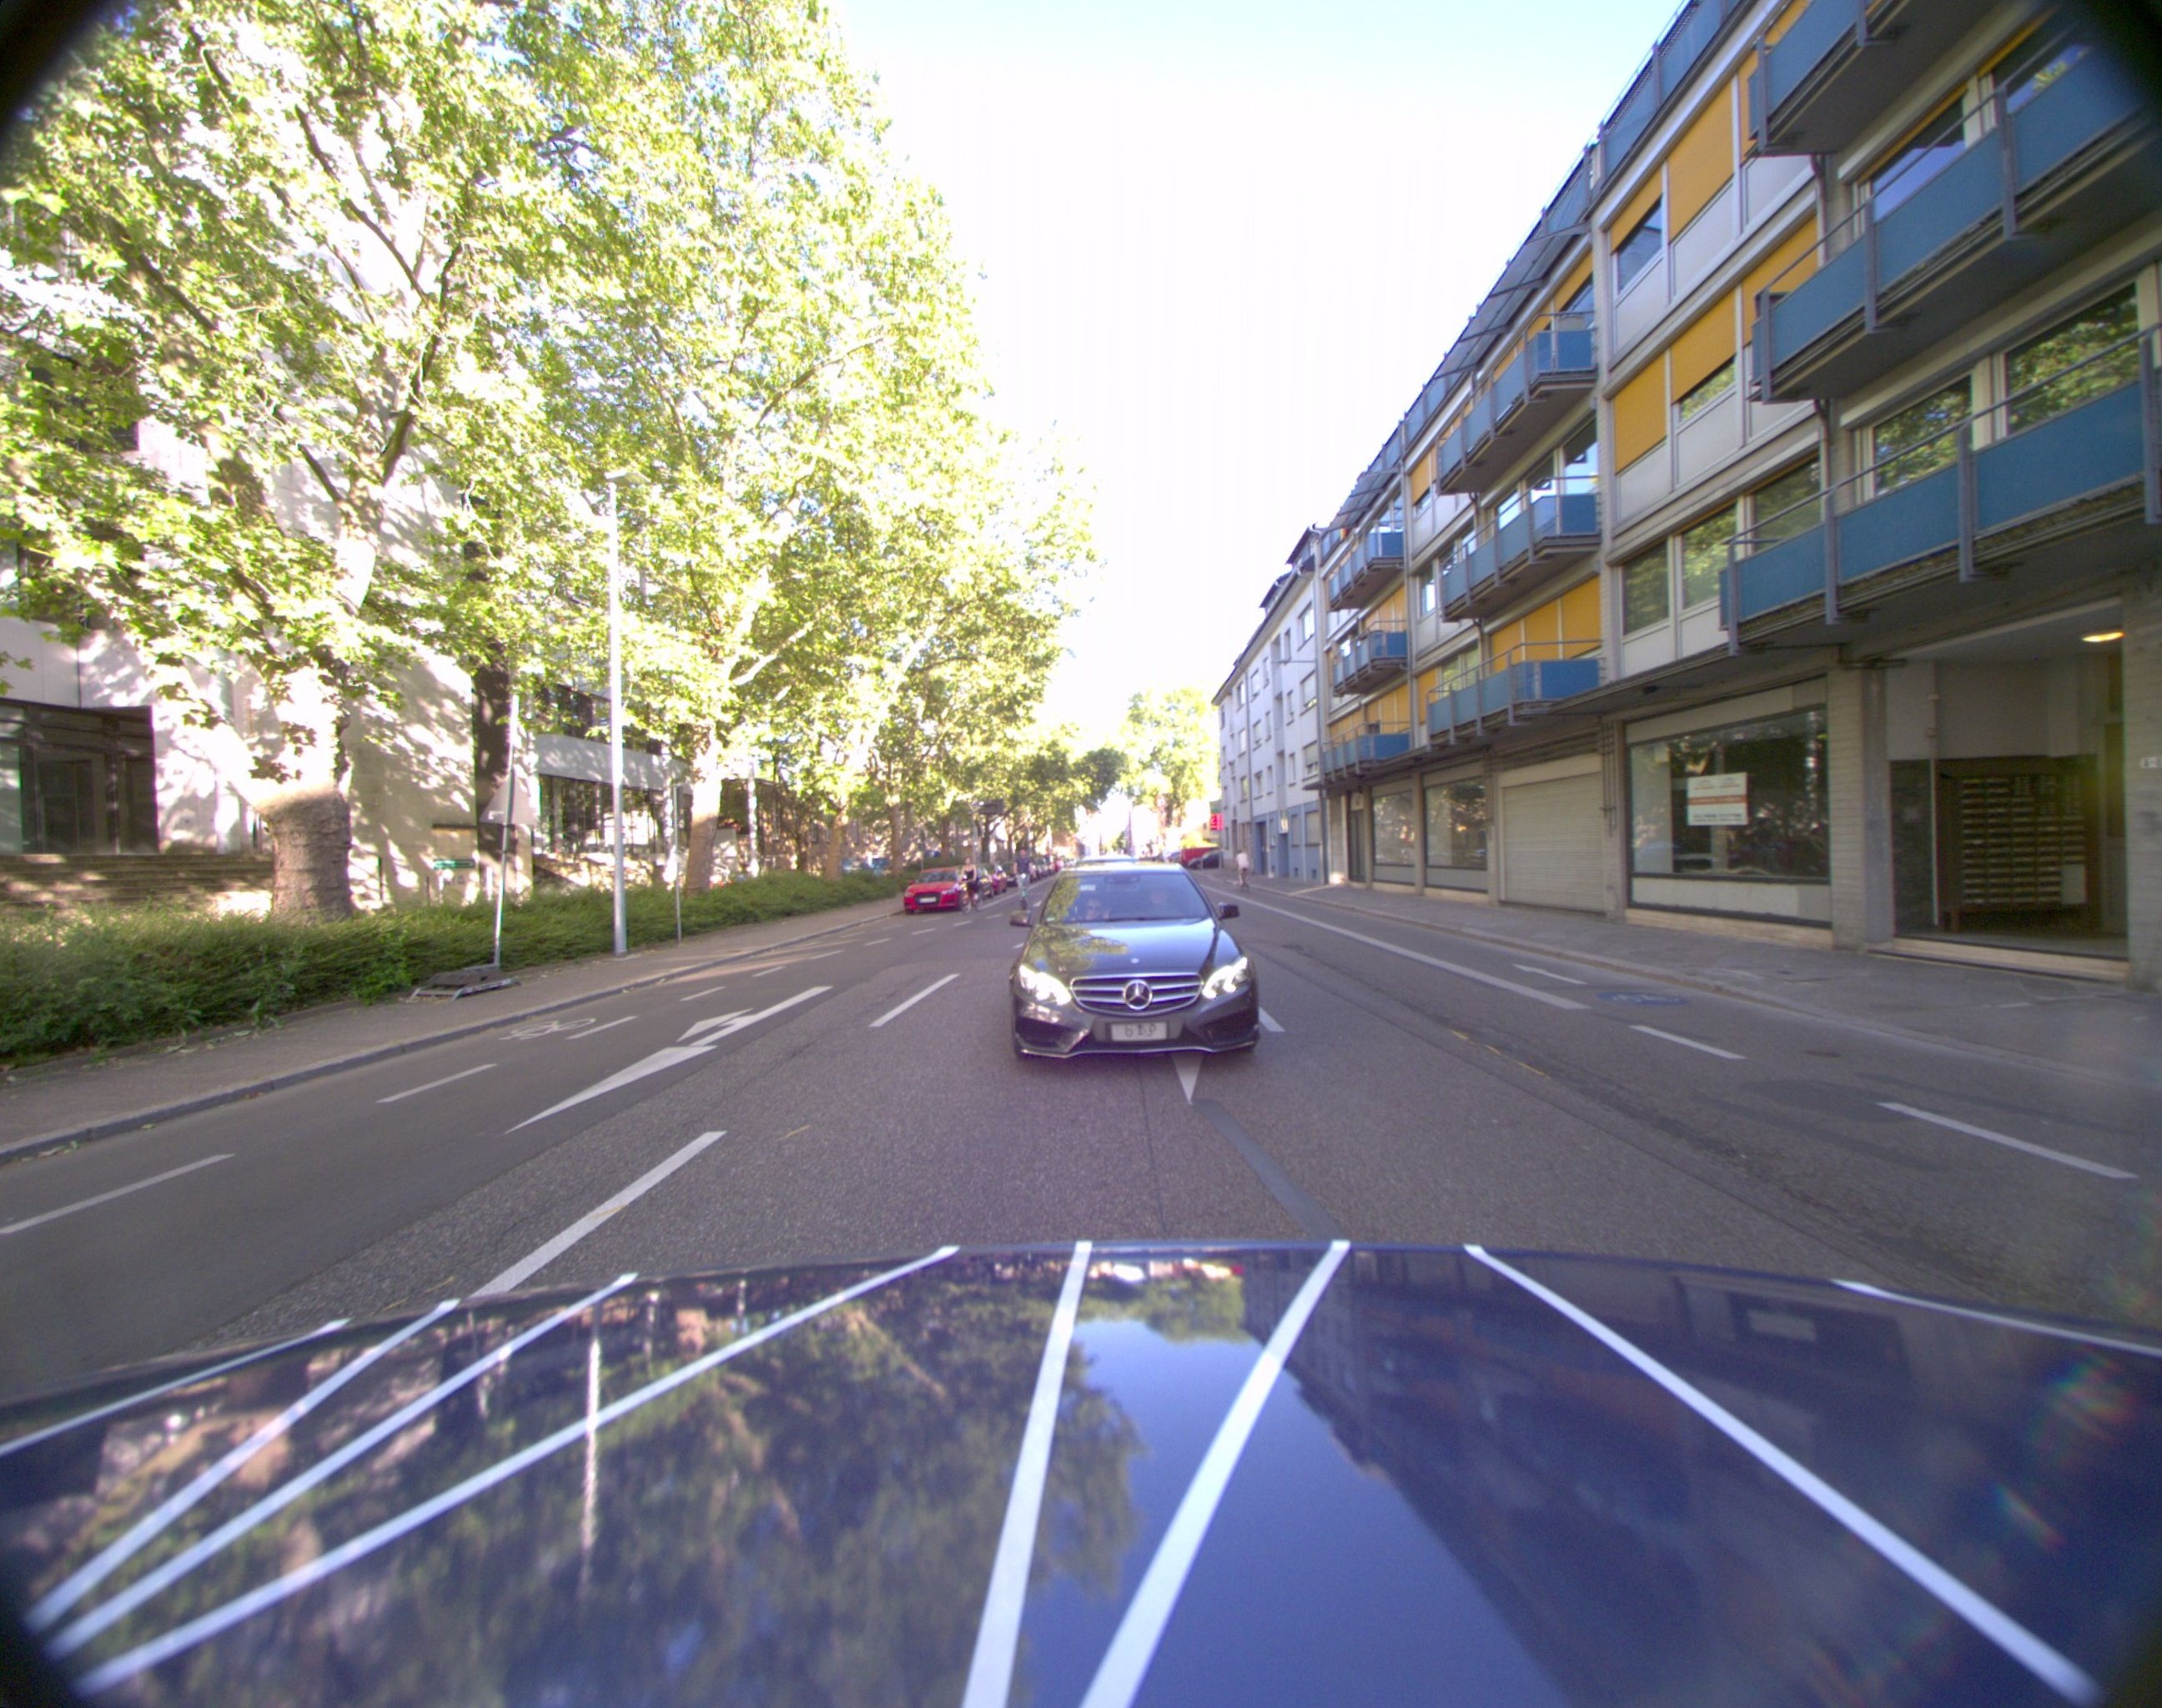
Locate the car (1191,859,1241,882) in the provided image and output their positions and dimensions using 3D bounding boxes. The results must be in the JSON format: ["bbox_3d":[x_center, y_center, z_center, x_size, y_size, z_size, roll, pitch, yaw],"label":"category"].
[{"bbox_3d":[11.823,1.421,66.616,3.997,1.825,1.830,-2,1,0],"label":"car"}]

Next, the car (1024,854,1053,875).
[{"bbox_3d":[-3.492,0.838,62.680,1.898,1.642,4.077,-2,0,3],"label":"car"}]

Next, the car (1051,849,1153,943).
[{"bbox_3d":[0.454,0.739,15.435,1.747,1.594,4.000,-2,1,2],"label":"car"}]

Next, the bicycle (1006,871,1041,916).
[{"bbox_3d":[-1.726,1.165,23.234,0.770,1.129,2.815,-4,1,1],"label":"bicycle"}]

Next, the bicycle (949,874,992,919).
[{"bbox_3d":[-3.343,1.250,23.244,0.770,1.129,2.815,-4,1,1],"label":"bicycle"}]

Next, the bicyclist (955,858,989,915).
[{"bbox_3d":[-3.346,0.977,23.387,0.770,1.670,0.896,-4,1,1],"label":"bicyclist"}]

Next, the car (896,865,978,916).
[{"bbox_3d":[-4.739,1.174,25.603,1.898,1.435,4.076,-2,0,0],"label":"car"}]

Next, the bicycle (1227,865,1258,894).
[{"bbox_3d":[6.323,0.985,29.893,0.692,0.980,2.632,-1,1,1],"label":"bicycle"}]

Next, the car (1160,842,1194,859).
[{"bbox_3d":[12.284,-0.415,97.099,3.997,2.002,2.000,-2,1,0],"label":"car"}]

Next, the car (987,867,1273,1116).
[{"bbox_3d":[0.392,0.935,7.276,1.798,1.460,4.719,-2,0,2],"label":"car"}]

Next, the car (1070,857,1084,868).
[{"bbox_3d":[-0.630,1.284,114.553,1.898,1.542,4.077,-2,0,3],"label":"car"}]

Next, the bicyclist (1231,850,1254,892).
[{"bbox_3d":[6.312,0.660,29.734,0.692,1.621,0.758,-1,1,1],"label":"bicyclist"}]

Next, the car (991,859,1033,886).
[{"bbox_3d":[-4.046,1.060,45.203,1.898,1.443,4.077,-2,0,3],"label":"car"}]

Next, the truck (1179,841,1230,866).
[{"bbox_3d":[11.642,-0.034,71.879,4.403,2.146,1.877,-2,1,0],"label":"truck"}]

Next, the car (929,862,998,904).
[{"bbox_3d":[-4.601,1.097,30.320,1.898,1.439,4.077,-2,0,3],"label":"car"}]

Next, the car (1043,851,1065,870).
[{"bbox_3d":[-2.788,0.673,78.415,1.898,1.807,4.077,-2,0,3],"label":"car"}]

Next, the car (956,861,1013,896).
[{"bbox_3d":[-4.480,1.099,35.822,1.898,1.443,4.077,-2,0,3],"label":"car"}]

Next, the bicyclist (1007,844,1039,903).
[{"bbox_3d":[-1.770,0.582,23.277,0.770,1.723,0.901,-4,1,1],"label":"bicyclist"}]

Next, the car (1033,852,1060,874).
[{"bbox_3d":[-3.038,0.788,67.427,1.898,1.841,4.077,-2,0,3],"label":"car"}]

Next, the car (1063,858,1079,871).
[{"bbox_3d":[-1.295,1.431,104.515,1.898,1.542,4.077,-2,0,3],"label":"car"}]
